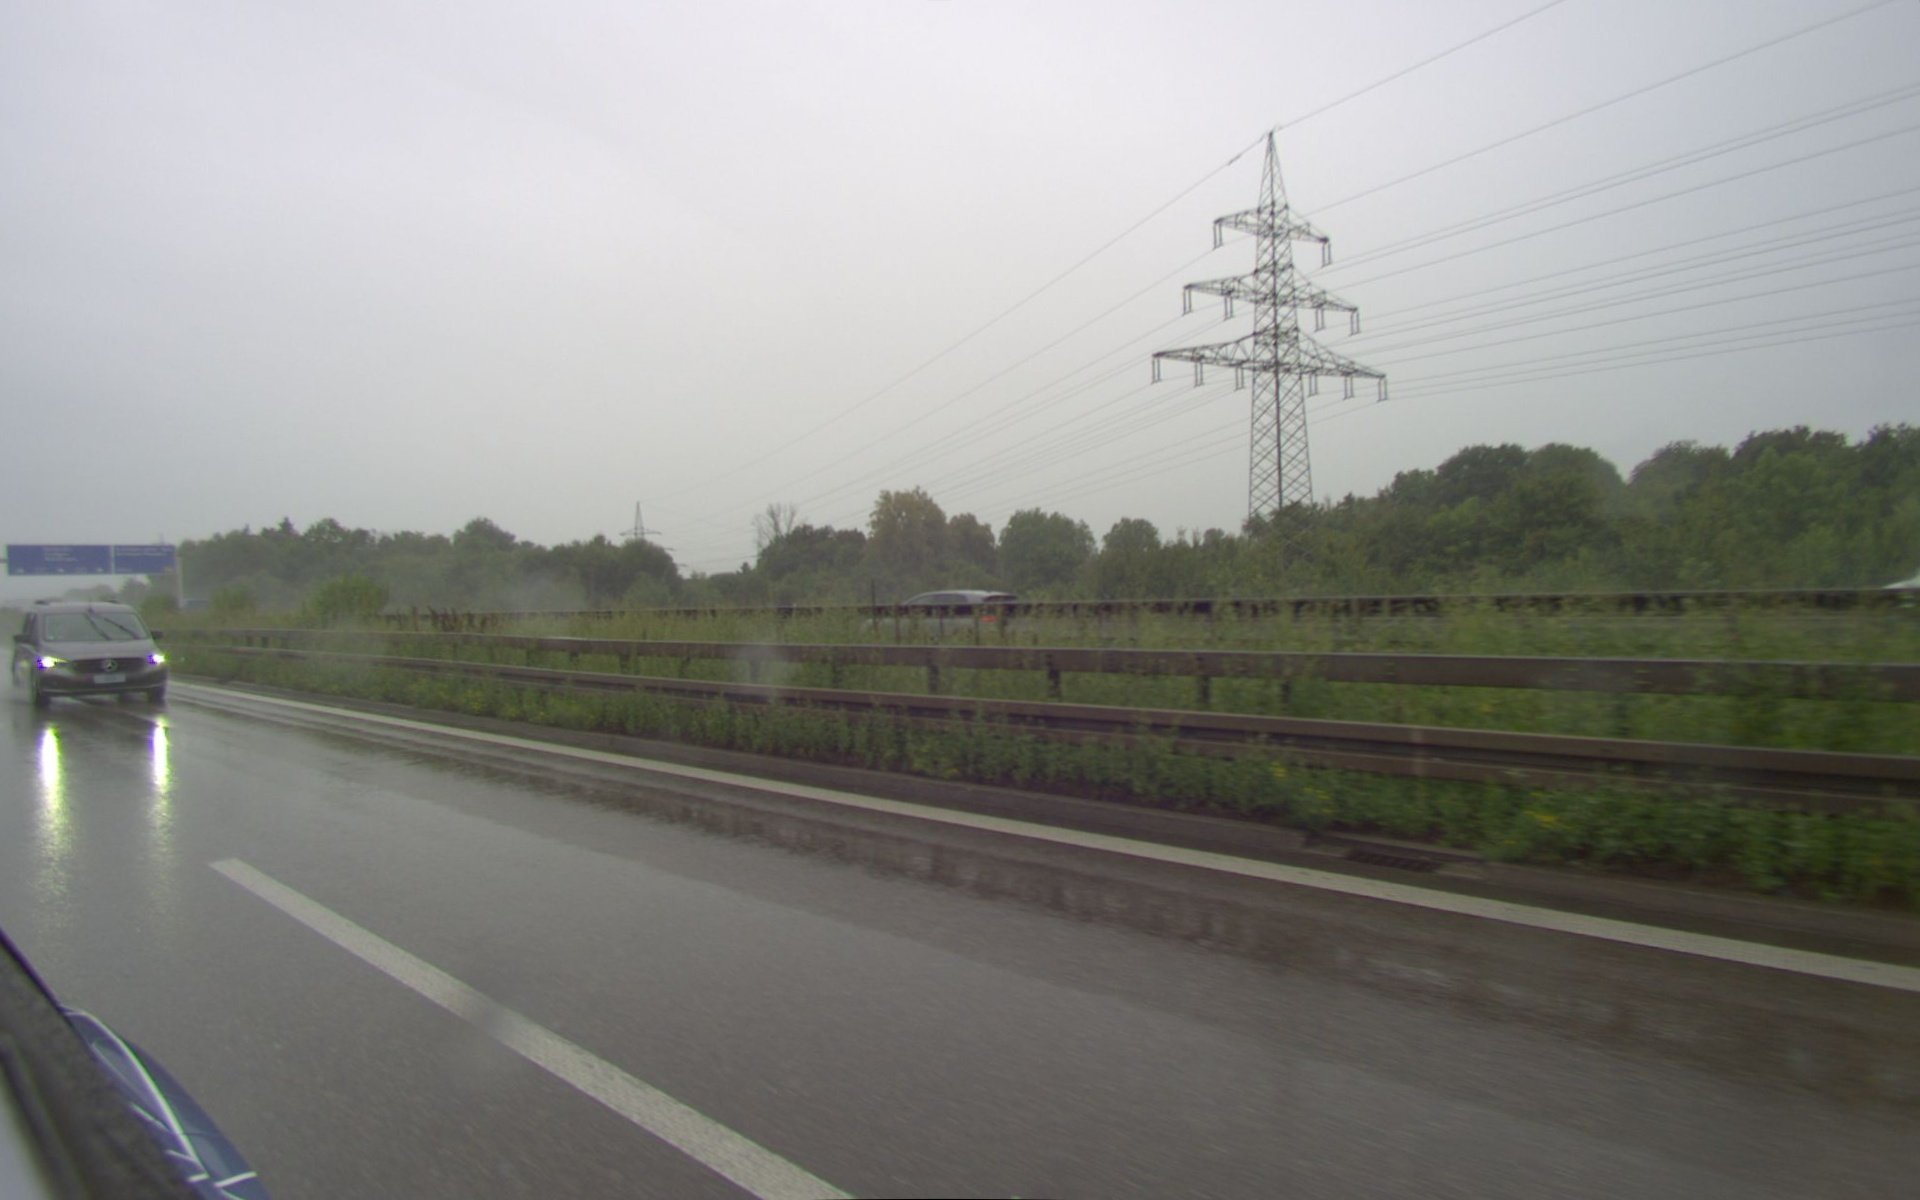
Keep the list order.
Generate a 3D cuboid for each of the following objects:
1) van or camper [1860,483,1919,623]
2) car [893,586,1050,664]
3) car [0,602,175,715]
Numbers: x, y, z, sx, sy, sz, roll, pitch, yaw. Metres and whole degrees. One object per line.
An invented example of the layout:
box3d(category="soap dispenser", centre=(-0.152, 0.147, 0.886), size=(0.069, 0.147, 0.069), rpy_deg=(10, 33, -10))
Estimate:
box3d(category="van or camper", centre=(16.470, -0.795, 13.363), size=(6.756, 1.986, 2.254), rpy_deg=(-2, 1, 42))
box3d(category="car", centre=(0.206, 0.559, 21.270), size=(3.256, 1.515, 1.292), rpy_deg=(-2, -4, 42))
box3d(category="car", centre=(-16.016, 0.984, 18.285), size=(4.497, 1.787, 2.021), rpy_deg=(-2, -1, 40))
